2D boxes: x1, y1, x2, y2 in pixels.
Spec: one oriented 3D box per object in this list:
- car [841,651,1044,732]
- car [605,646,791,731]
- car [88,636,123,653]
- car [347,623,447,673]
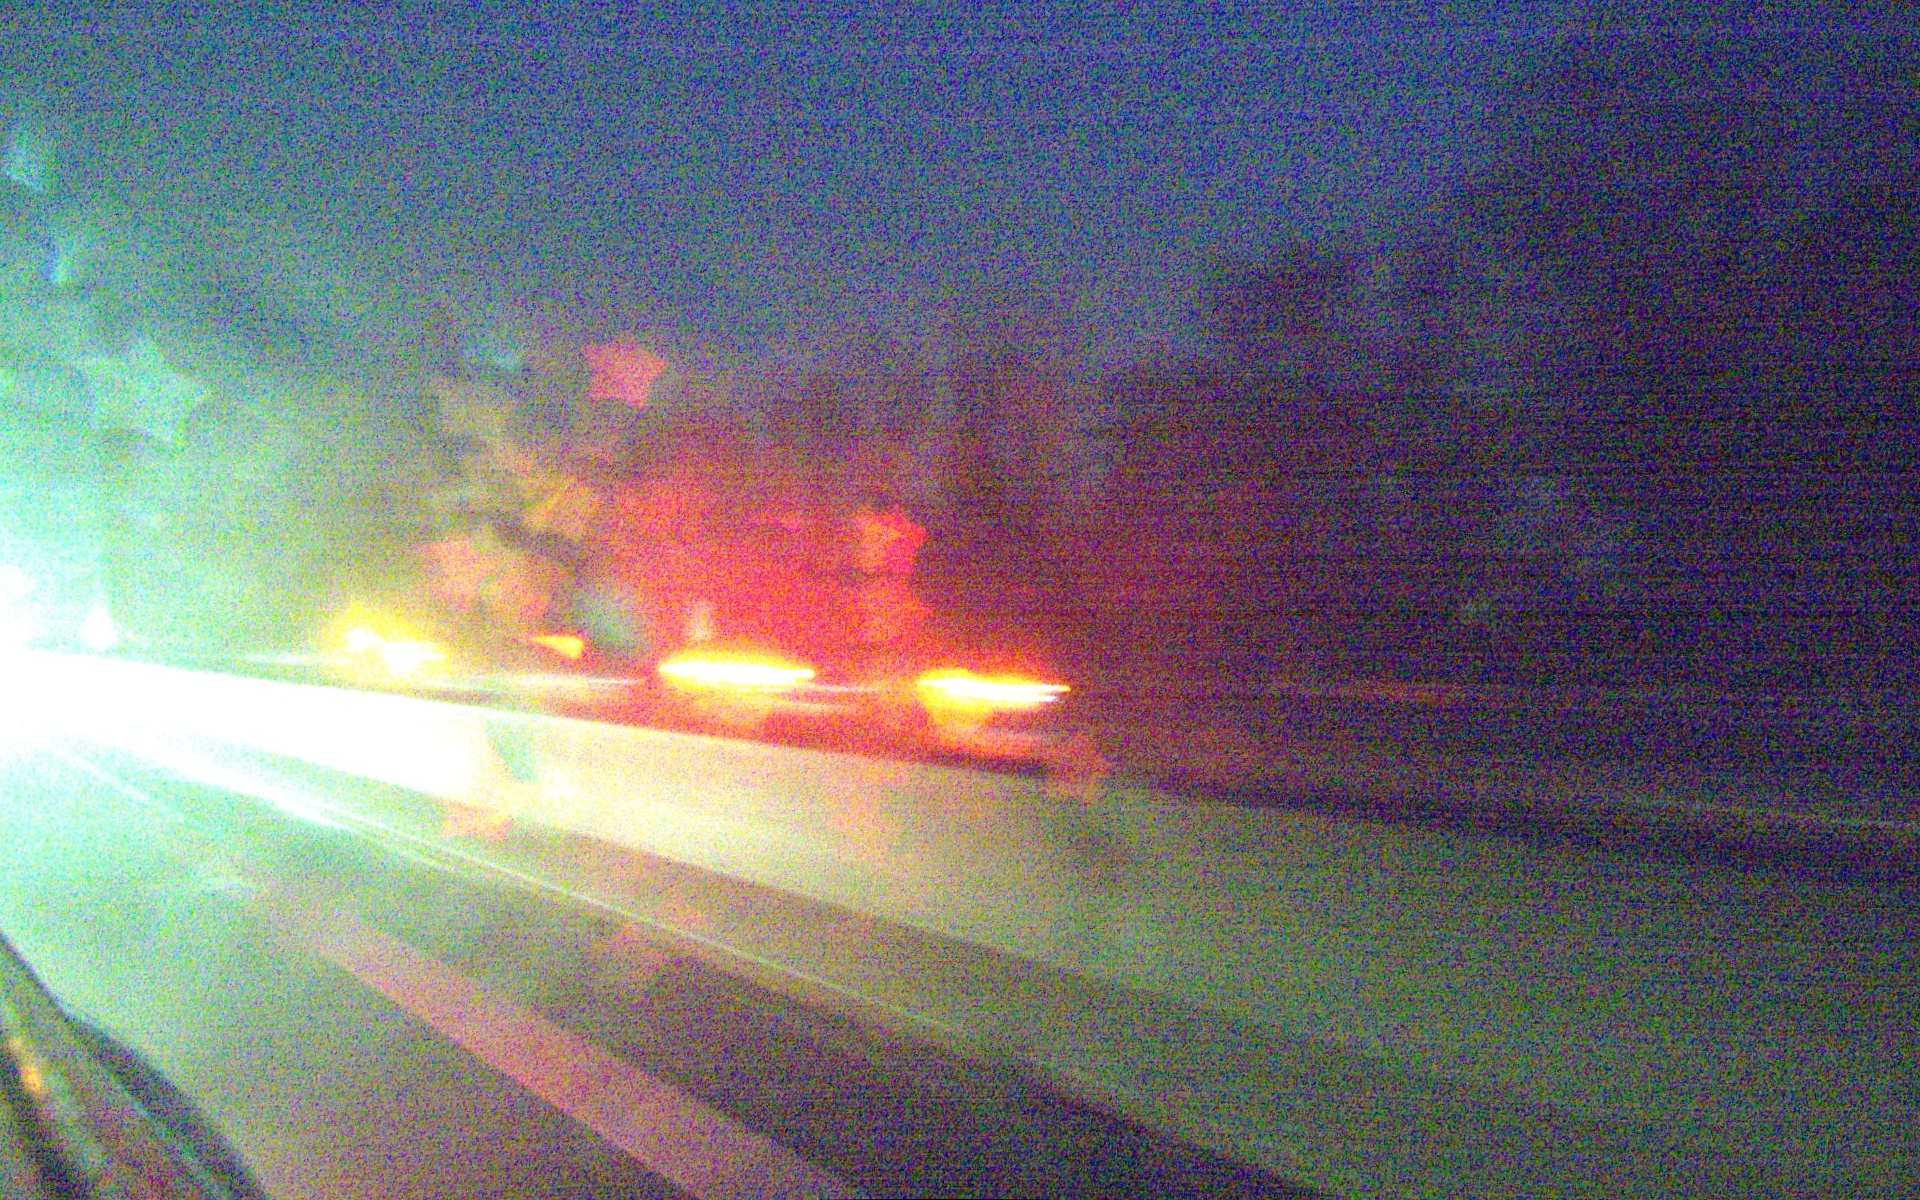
[{"bbox_3d":[-0.448,1.846,21.275,4.270,1.520,1.673,-2,-4,41],"label":"car"},{"bbox_3d":[-5.240,1.679,20.041,3.793,1.519,1.716,-2,-4,41],"label":"car"},{"bbox_3d":[-76.014,3.975,89.997,4.507,1.491,1.762,-2,-4,42],"label":"car"},{"bbox_3d":[-29.767,2.518,53.385,7.020,2.462,2.356,-2,-4,42],"label":"car"}]
